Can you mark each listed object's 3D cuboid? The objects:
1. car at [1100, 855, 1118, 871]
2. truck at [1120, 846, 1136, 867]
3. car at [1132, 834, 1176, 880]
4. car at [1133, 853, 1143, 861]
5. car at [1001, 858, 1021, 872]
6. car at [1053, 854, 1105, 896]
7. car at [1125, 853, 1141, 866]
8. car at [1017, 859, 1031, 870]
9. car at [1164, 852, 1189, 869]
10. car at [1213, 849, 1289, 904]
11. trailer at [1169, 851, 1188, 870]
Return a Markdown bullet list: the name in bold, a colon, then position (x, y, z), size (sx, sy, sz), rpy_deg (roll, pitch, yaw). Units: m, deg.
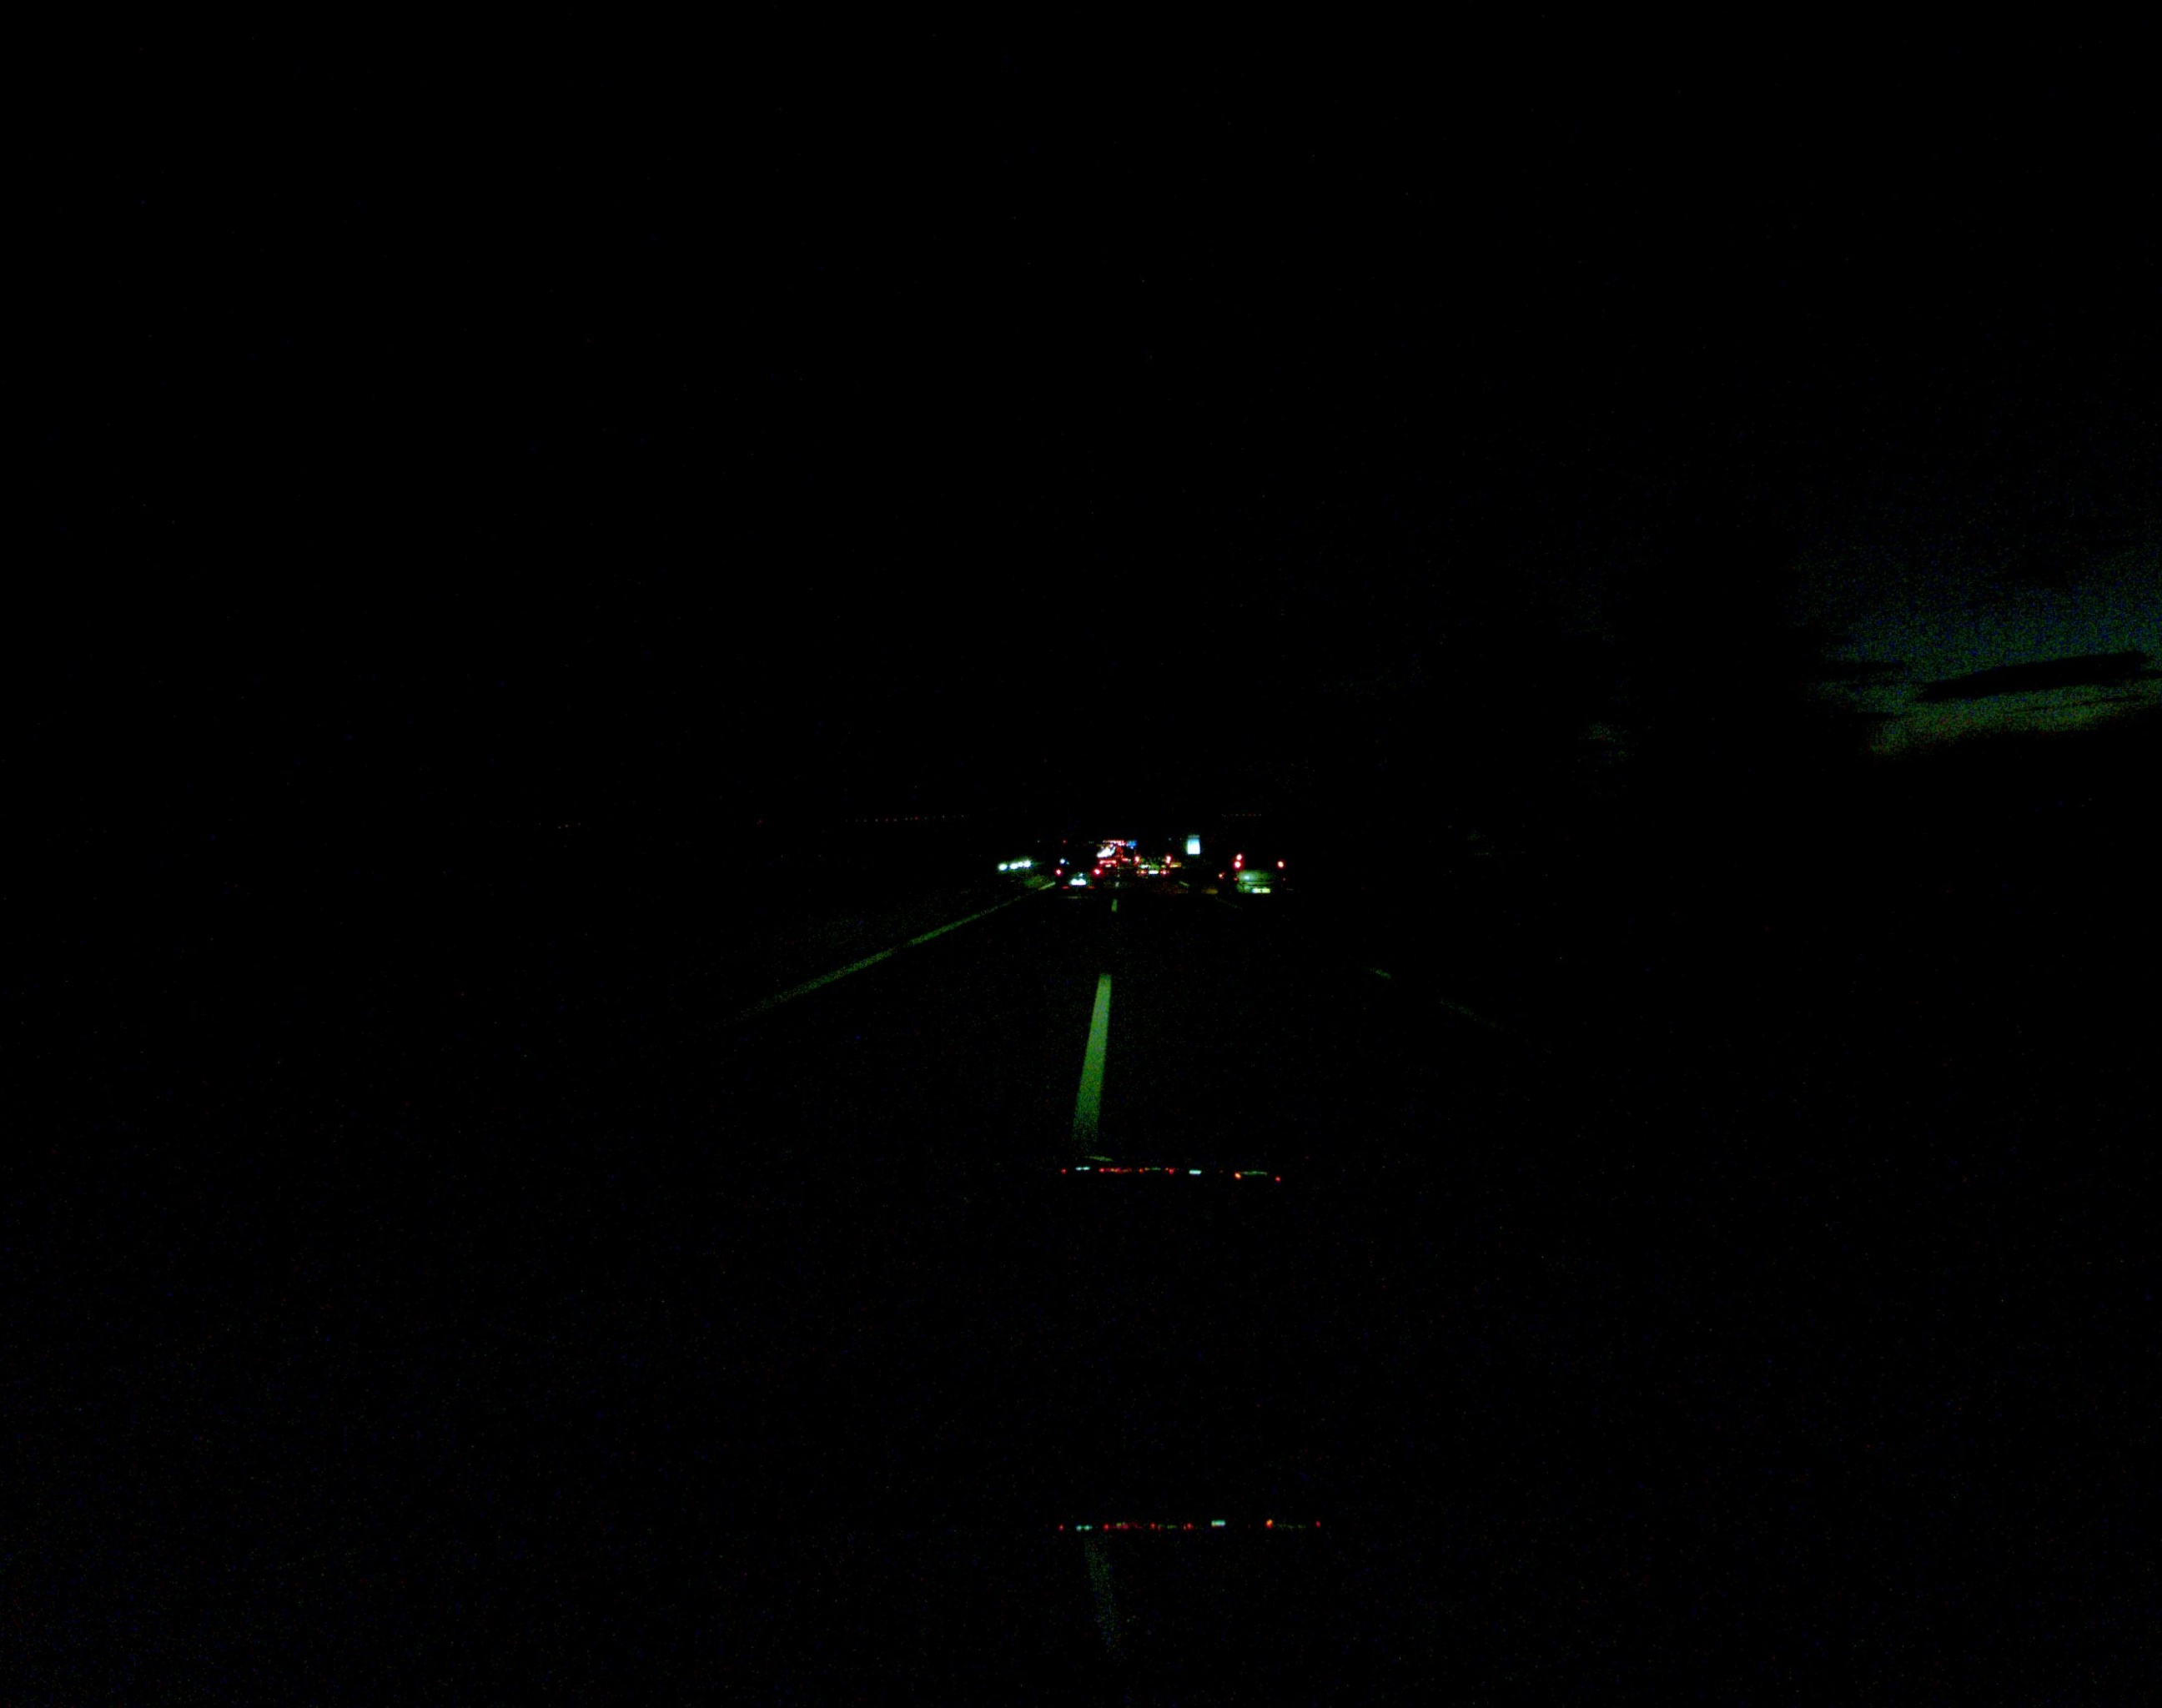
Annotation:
- **car**: position (2.886, 0.922, 84.484), size (1.737, 1.440, 4.371), rpy_deg (-2, 0, 3)
- **truck**: position (9.356, 0.466, 161.635), size (2.771, 3.955, 7.995), rpy_deg (-2, 0, 1)
- **car**: position (4.308, 0.167, 49.126), size (2.341, 2.535, 5.705), rpy_deg (-2, 0, 3)
- **car**: position (15.018, 0.832, 214.225), size (2.341, 2.076, 4.726), rpy_deg (-2, 0, 3)
- **car**: position (-9.078, 1.450, 106.171), size (1.895, 1.643, 5.302), rpy_deg (-2, 0, 3)
- **car**: position (-0.020, 0.773, 31.651), size (1.786, 1.469, 3.776), rpy_deg (-1, 0, 3)
- **car**: position (8.087, 0.829, 127.373), size (2.342, 1.914, 4.726), rpy_deg (-2, 0, 3)
- **car**: position (-10.649, 1.968, 152.544), size (2.036, 1.720, 4.778), rpy_deg (-4, 0, 3)
- **car**: position (9.372, 0.620, 80.246), size (2.154, 1.563, 4.726), rpy_deg (-1, 0, 3)
- **car**: position (5.363, 0.666, 26.186), size (1.640, 1.596, 4.512), rpy_deg (-1, 0, 2)
- **trailer**: position (9.137, 0.586, 76.578), size (1.559, 1.693, 2.823), rpy_deg (-2, 0, 3)
